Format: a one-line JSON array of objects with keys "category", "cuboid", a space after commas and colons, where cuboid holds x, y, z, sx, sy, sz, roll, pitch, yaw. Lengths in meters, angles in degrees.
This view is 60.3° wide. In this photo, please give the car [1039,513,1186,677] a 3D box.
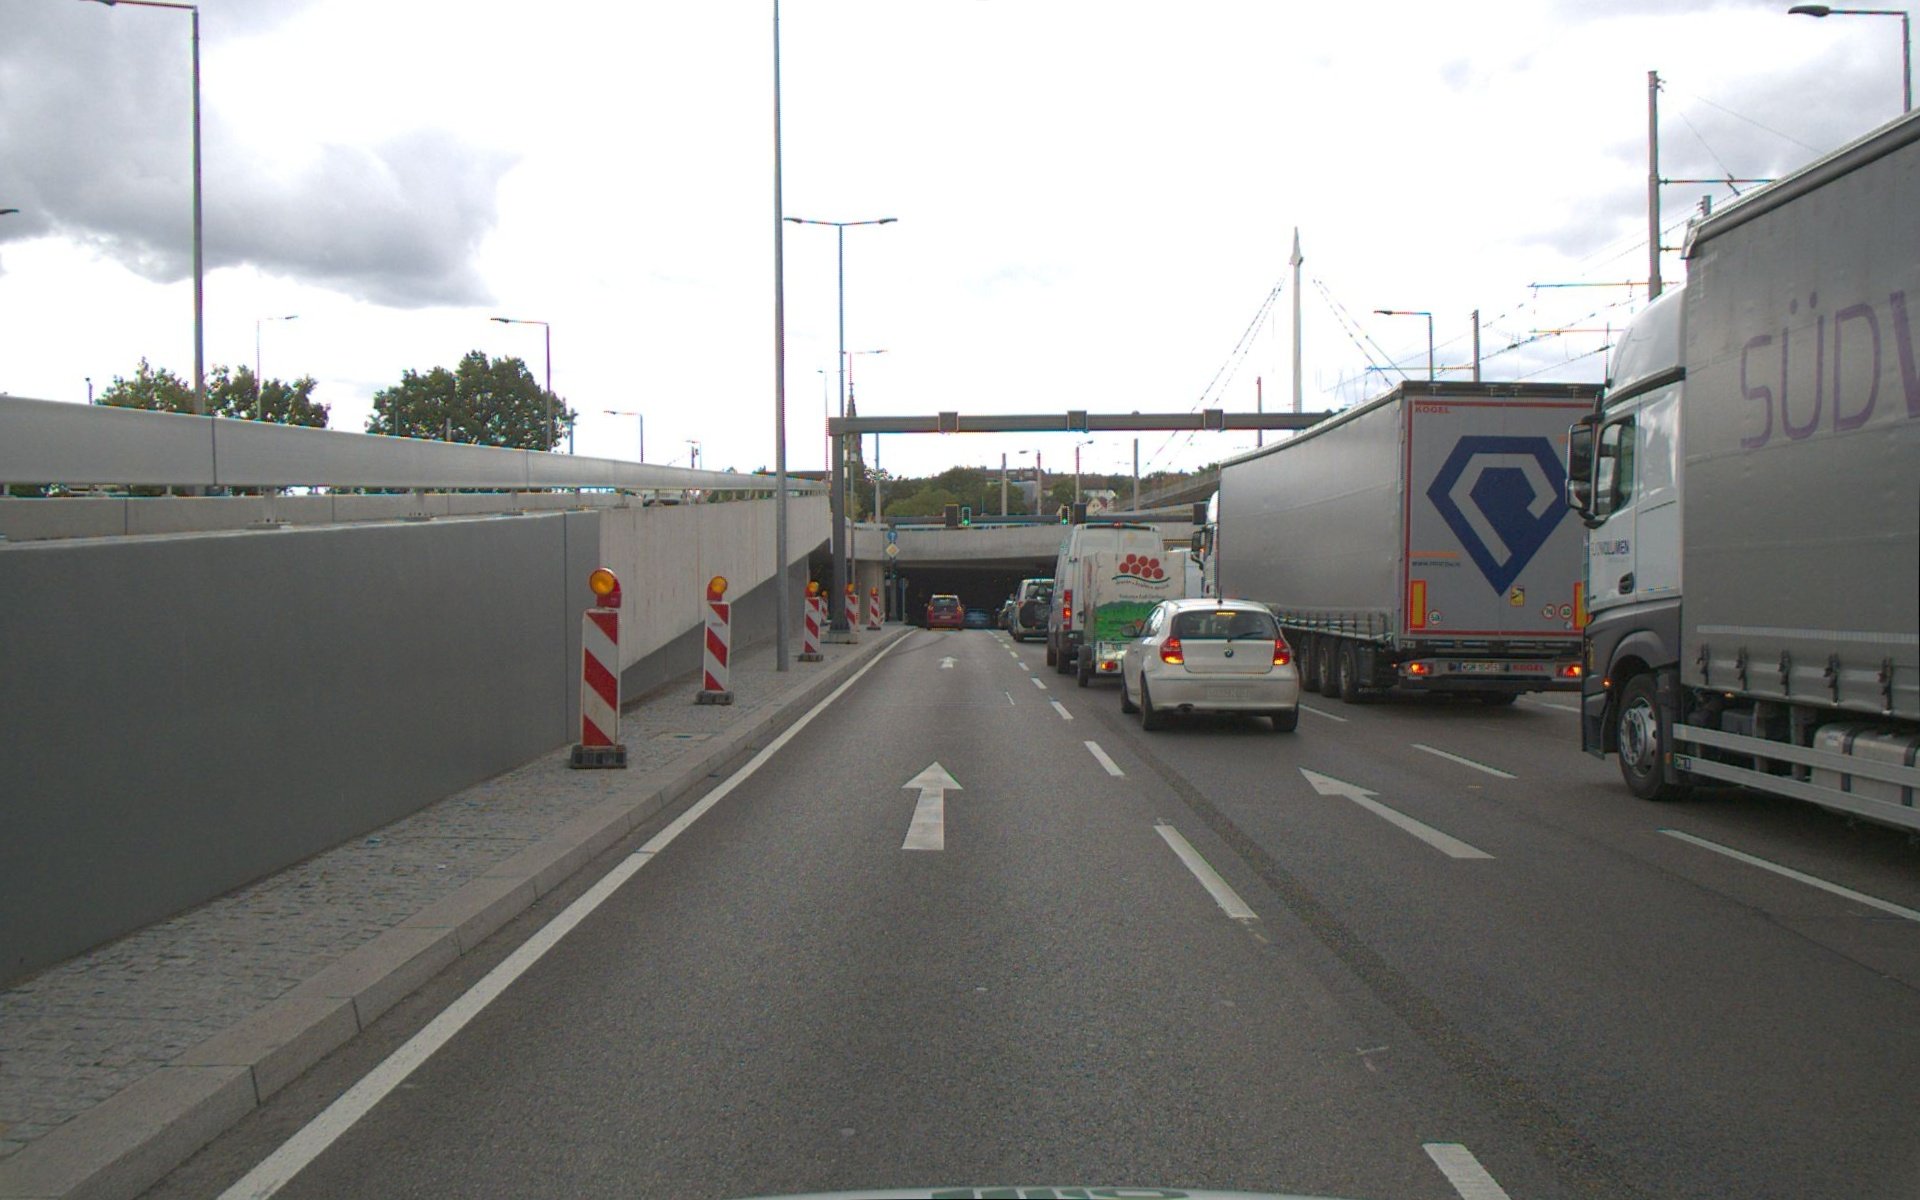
[{"category": "car", "cuboid": [2.739, -0.078, 31.191, 2.016, 2.673, 5.941, 3, 0, -1]}]

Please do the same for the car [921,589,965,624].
[{"category": "car", "cuboid": [-0.785, 0.304, 74.099, 1.628, 1.514, 3.561, 0, -1, -7]}]

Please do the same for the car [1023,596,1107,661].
[{"category": "car", "cuboid": [2.759, 0.725, 44.088, 1.649, 1.571, 3.689, 2, 1, -5]}]

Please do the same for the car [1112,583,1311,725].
[{"category": "car", "cuboid": [2.839, 0.558, 19.552, 1.681, 1.422, 4.347, 2, 0, 1]}]

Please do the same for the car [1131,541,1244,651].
[{"category": "car", "cuboid": [6.195, -0.158, 45.925, 2.033, 2.821, 7.325, 0, 1, -1]}]

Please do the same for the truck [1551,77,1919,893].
[{"category": "truck", "cuboid": [6.768, -0.571, 8.496, 3.647, 4.214, 10.985, 1, 1, 1]}]

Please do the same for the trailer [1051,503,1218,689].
[{"category": "trailer", "cuboid": [2.771, -0.059, 27.389, 2.061, 2.684, 4.809, 3, 0, -1]}]

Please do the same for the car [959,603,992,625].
[{"category": "car", "cuboid": [1.037, 0.954, 113.824, 1.954, 1.411, 3.997, 0, 1, -4]}]

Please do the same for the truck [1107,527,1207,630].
[{"category": "truck", "cuboid": [6.537, -0.669, 55.888, 2.595, 3.241, 7.426, 0, 0, 1]}]

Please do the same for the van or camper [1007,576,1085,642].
[{"category": "van or camper", "cuboid": [2.570, 0.260, 50.741, 1.953, 1.877, 5.506, 1, 0, -1]}]

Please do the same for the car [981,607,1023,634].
[{"category": "car", "cuboid": [2.004, 0.983, 79.824, 1.631, 1.269, 3.563, 0, -1, -5]}]

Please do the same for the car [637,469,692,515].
[{"category": "car", "cuboid": [-11.770, -4.282, 65.965, 1.710, 1.457, 3.772, 3, 0, -4]}]

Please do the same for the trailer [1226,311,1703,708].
[{"category": "trailer", "cuboid": [7.071, -1.162, 26.035, 3.727, 4.712, 12.114, 1, 1, 0]}]

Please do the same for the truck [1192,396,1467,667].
[{"category": "truck", "cuboid": [7.072, -1.246, 33.022, 3.727, 4.712, 7.442, 1, 1, 0]}]
